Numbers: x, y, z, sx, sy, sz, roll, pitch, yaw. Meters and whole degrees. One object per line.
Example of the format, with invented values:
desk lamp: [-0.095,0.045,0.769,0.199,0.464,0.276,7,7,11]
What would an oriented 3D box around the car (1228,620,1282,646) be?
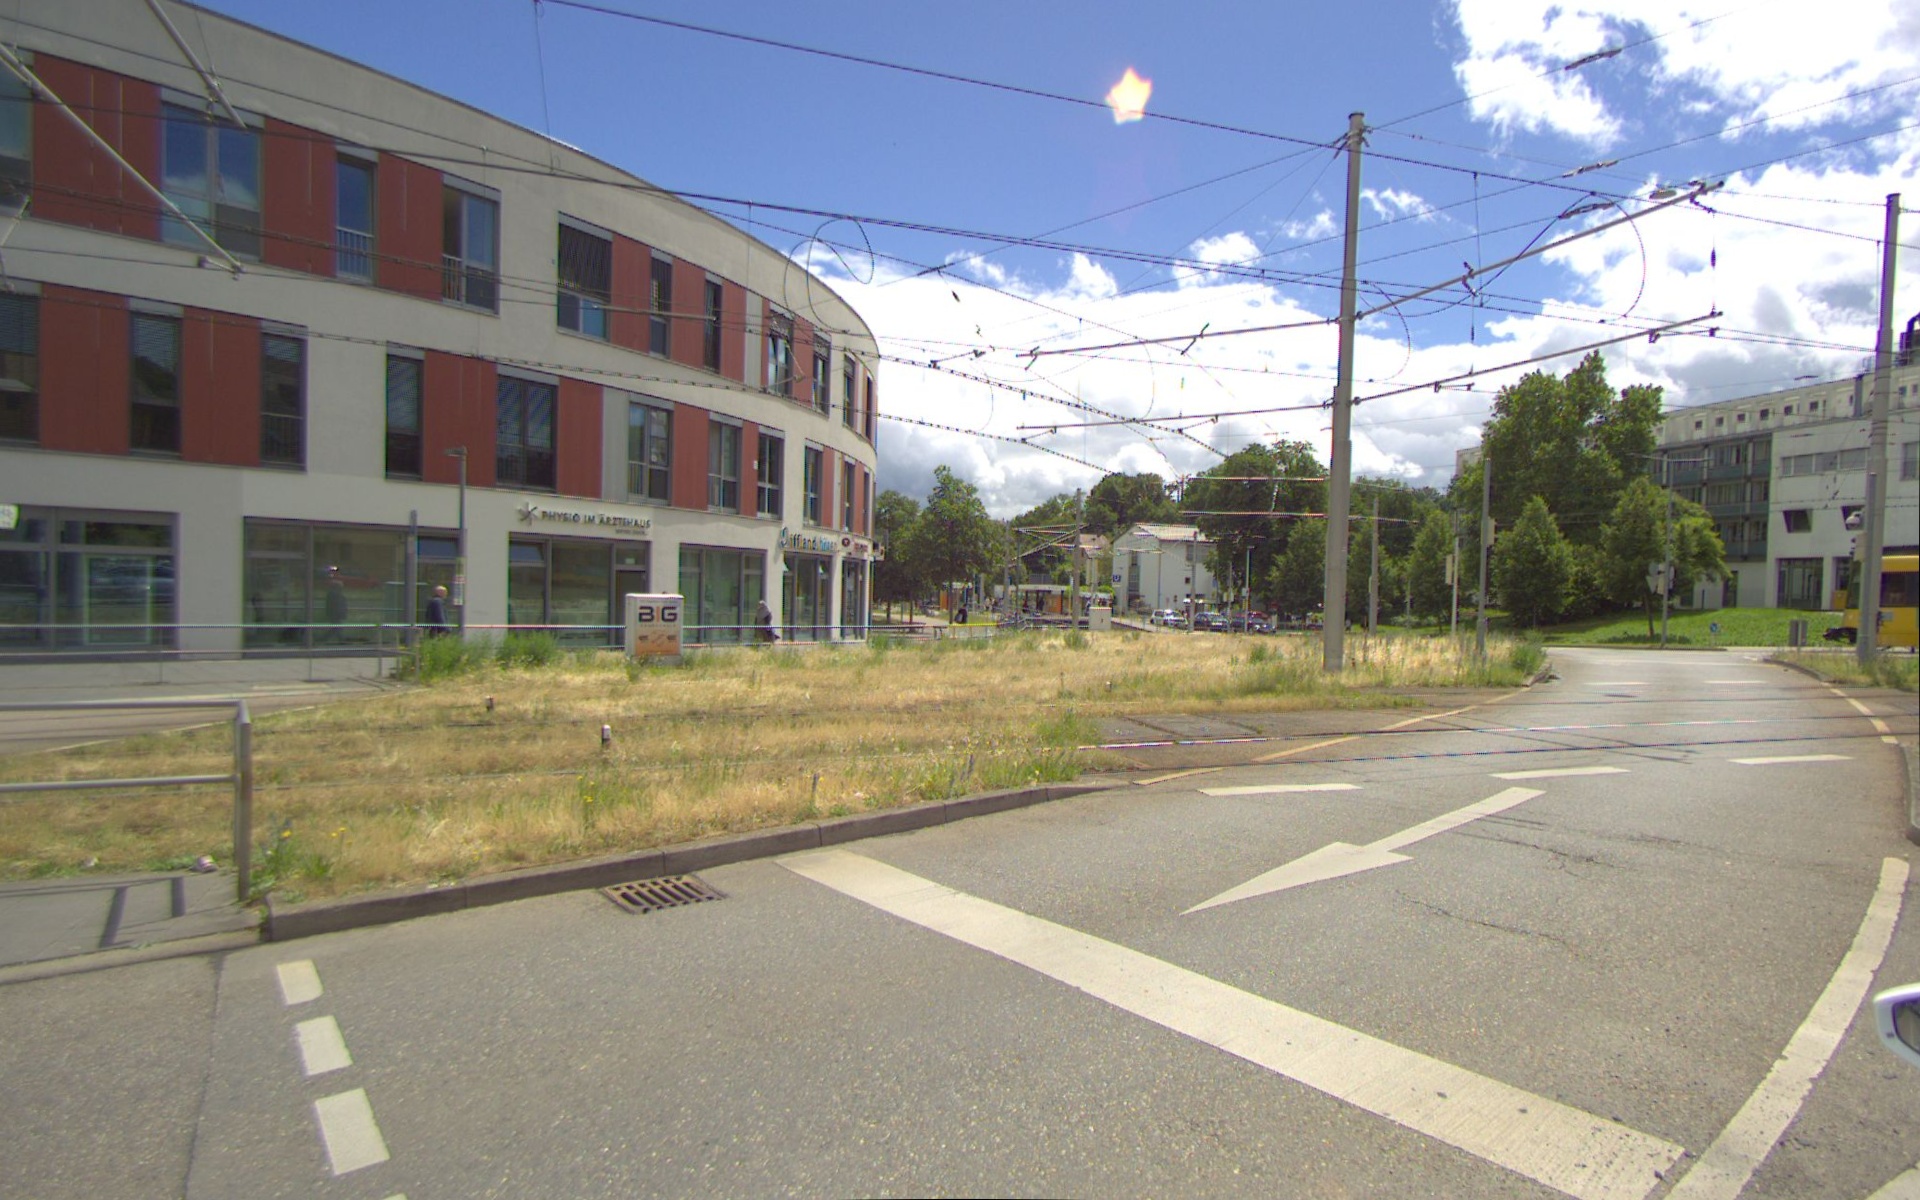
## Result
car: [22.013,2.438,75.077,1.989,1.814,4.227,1,-1,-14]

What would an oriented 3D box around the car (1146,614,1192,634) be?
car: [16.951,1.924,81.806,1.906,1.576,4.480,2,-1,-14]

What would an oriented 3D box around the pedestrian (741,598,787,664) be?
pedestrian: [-6.026,0.944,30.896,0.848,1.994,1.115,1,-1,26]

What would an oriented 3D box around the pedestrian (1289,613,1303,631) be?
pedestrian: [29.909,1.984,89.376,0.829,1.597,0.812,0,0,-20]

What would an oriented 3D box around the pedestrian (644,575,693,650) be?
pedestrian: [-7.979,0.342,27.511,0.847,1.995,1.106,0,0,14]

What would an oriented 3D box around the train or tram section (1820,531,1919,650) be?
train or tram section: [39.948,-0.161,32.123,18.537,3.971,3.759,1,-1,25]

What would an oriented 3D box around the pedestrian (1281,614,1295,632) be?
pedestrian: [29.015,2.027,88.851,0.829,1.597,0.812,0,0,-20]

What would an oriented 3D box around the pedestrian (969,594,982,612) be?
pedestrian: [1.794,0.359,118.557,1.239,2.040,1.122,1,-1,-14]

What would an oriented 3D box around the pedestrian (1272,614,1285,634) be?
pedestrian: [29.674,2.237,93.660,0.817,1.891,0.818,1,0,-11]

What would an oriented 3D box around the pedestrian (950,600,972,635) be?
pedestrian: [0.048,0.821,47.614,0.847,1.646,0.733,1,-1,12]

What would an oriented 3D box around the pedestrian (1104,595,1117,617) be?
pedestrian: [12.206,0.474,81.487,0.823,1.714,0.616,0,0,-11]

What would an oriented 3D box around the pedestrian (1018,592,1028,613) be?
pedestrian: [6.366,0.248,100.930,0.806,2.040,0.772,1,-1,-11]

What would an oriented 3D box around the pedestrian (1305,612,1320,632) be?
pedestrian: [29.511,1.829,84.134,0.829,1.597,0.812,0,0,-20]

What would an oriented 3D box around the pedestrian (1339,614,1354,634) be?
pedestrian: [31.603,1.972,82.112,0.829,1.597,0.812,0,0,-20]

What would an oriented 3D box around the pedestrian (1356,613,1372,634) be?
pedestrian: [31.719,1.836,78.793,0.829,1.597,0.812,0,0,-20]

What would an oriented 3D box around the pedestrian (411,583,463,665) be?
pedestrian: [-10.390,0.469,19.960,0.724,1.601,0.688,1,0,41]

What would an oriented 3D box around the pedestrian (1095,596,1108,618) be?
pedestrian: [11.704,0.570,82.903,0.823,1.755,0.796,0,0,-11]

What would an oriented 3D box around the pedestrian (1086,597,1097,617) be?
pedestrian: [11.061,0.606,84.401,0.743,1.707,0.672,0,0,-11]

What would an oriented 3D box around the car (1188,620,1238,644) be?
car: [18.941,2.371,75.308,1.886,1.672,4.243,2,-1,-14]
